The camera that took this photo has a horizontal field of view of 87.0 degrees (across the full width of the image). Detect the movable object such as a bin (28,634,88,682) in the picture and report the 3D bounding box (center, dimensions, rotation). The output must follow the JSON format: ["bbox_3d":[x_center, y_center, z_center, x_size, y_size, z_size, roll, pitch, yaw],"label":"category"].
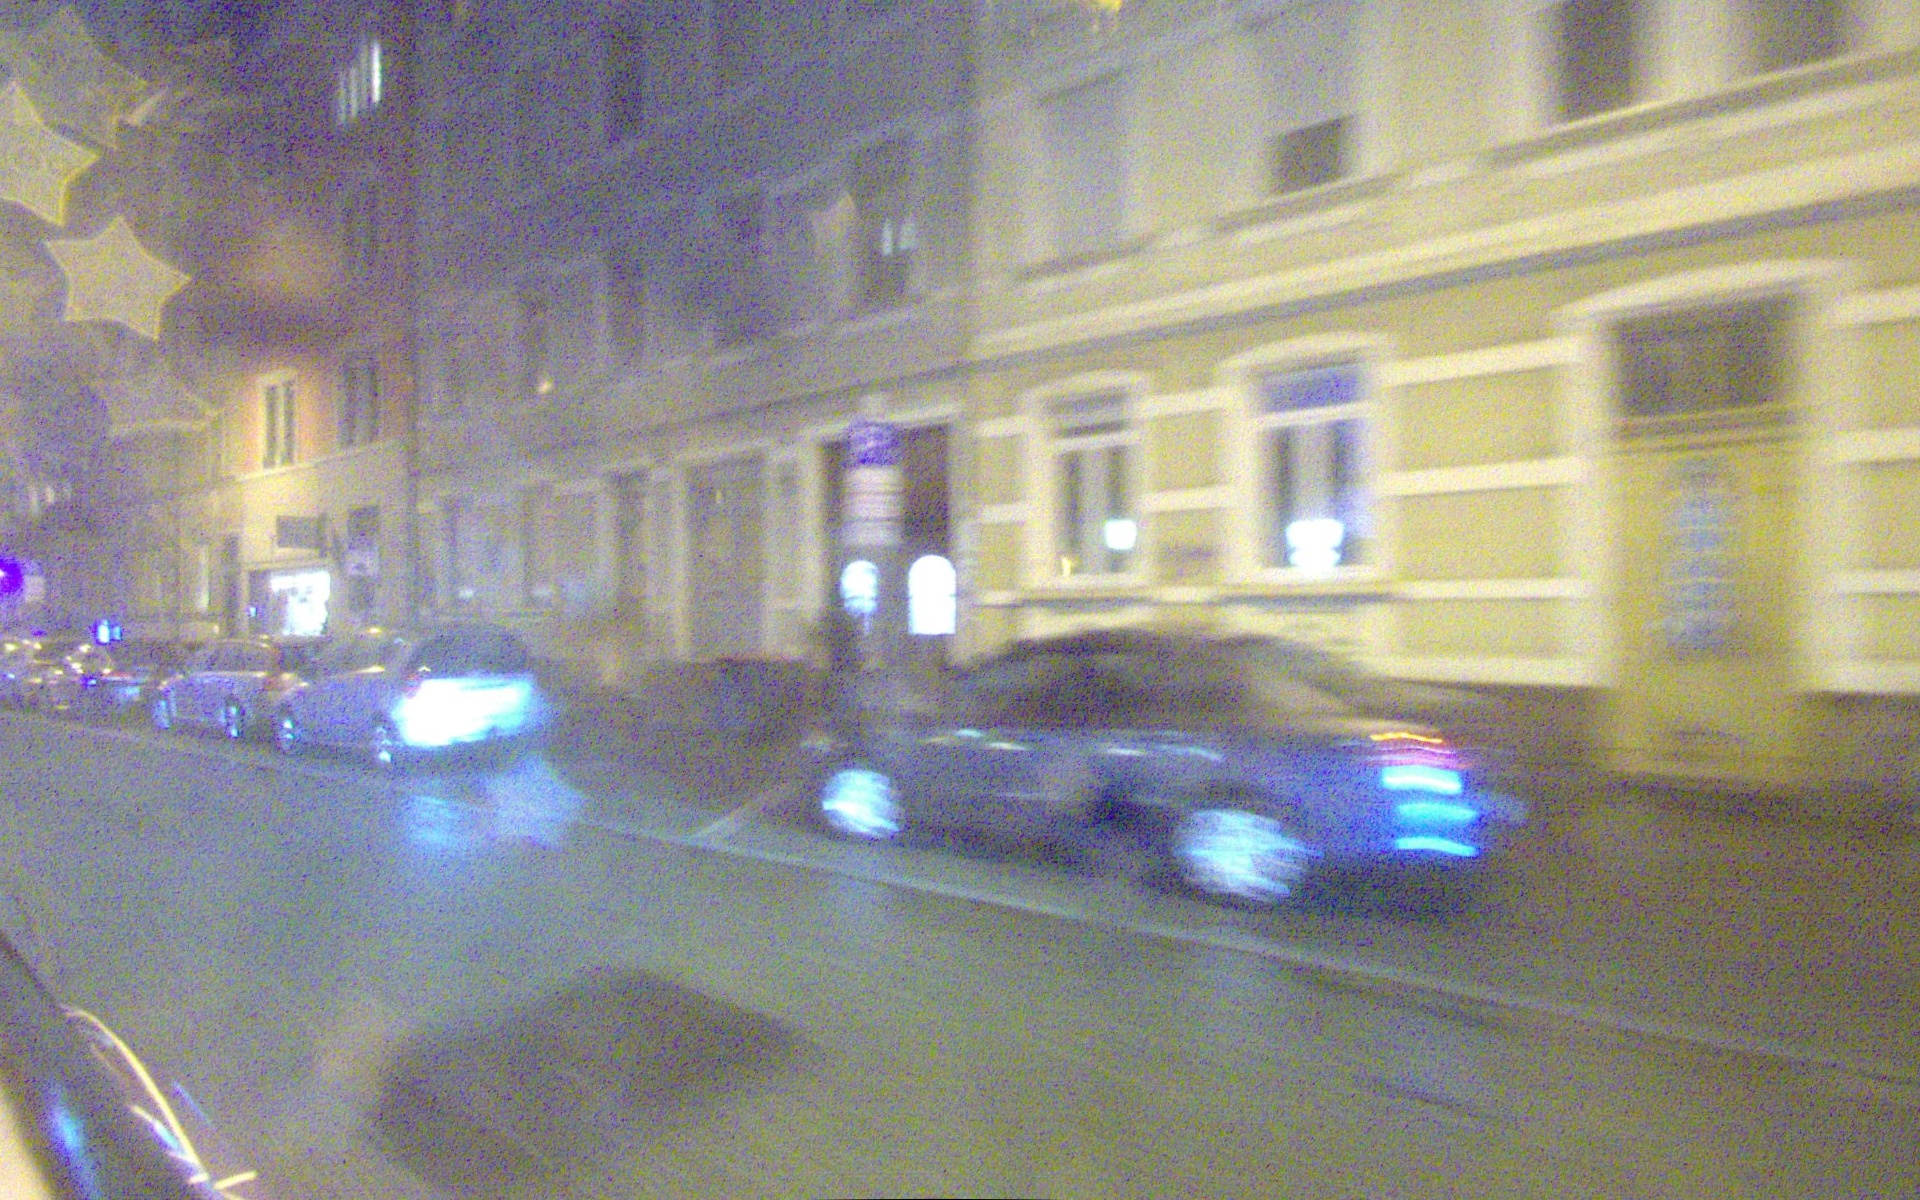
[{"bbox_3d":[-28.515,1.821,31.995,1.375,1.465,1.092,-2,-3,34],"label":"movable object such as a bin"}]

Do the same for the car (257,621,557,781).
[{"bbox_3d":[-6.633,1.075,12.024,3.758,1.600,1.729,-2,-2,37],"label":"car"}]

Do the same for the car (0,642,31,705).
[{"bbox_3d":[-24.774,1.831,25.264,3.714,1.502,1.657,-2,-1,37],"label":"car"}]

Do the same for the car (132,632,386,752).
[{"bbox_3d":[-10.391,1.241,14.905,4.298,1.492,1.816,-2,-2,37],"label":"car"}]

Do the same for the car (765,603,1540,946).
[{"bbox_3d":[0.993,0.822,6.539,4.586,1.497,1.816,-2,-2,37],"label":"car"}]

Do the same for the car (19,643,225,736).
[{"bbox_3d":[-14.849,1.484,17.863,4.417,1.400,1.805,-2,-2,37],"label":"car"}]

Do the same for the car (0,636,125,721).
[{"bbox_3d":[-19.210,1.561,21.172,4.127,1.584,1.758,-2,-2,37],"label":"car"}]

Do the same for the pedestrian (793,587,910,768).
[{"bbox_3d":[-1.166,0.786,10.852,0.986,1.818,0.736,-1,1,40],"label":"pedestrian"}]
